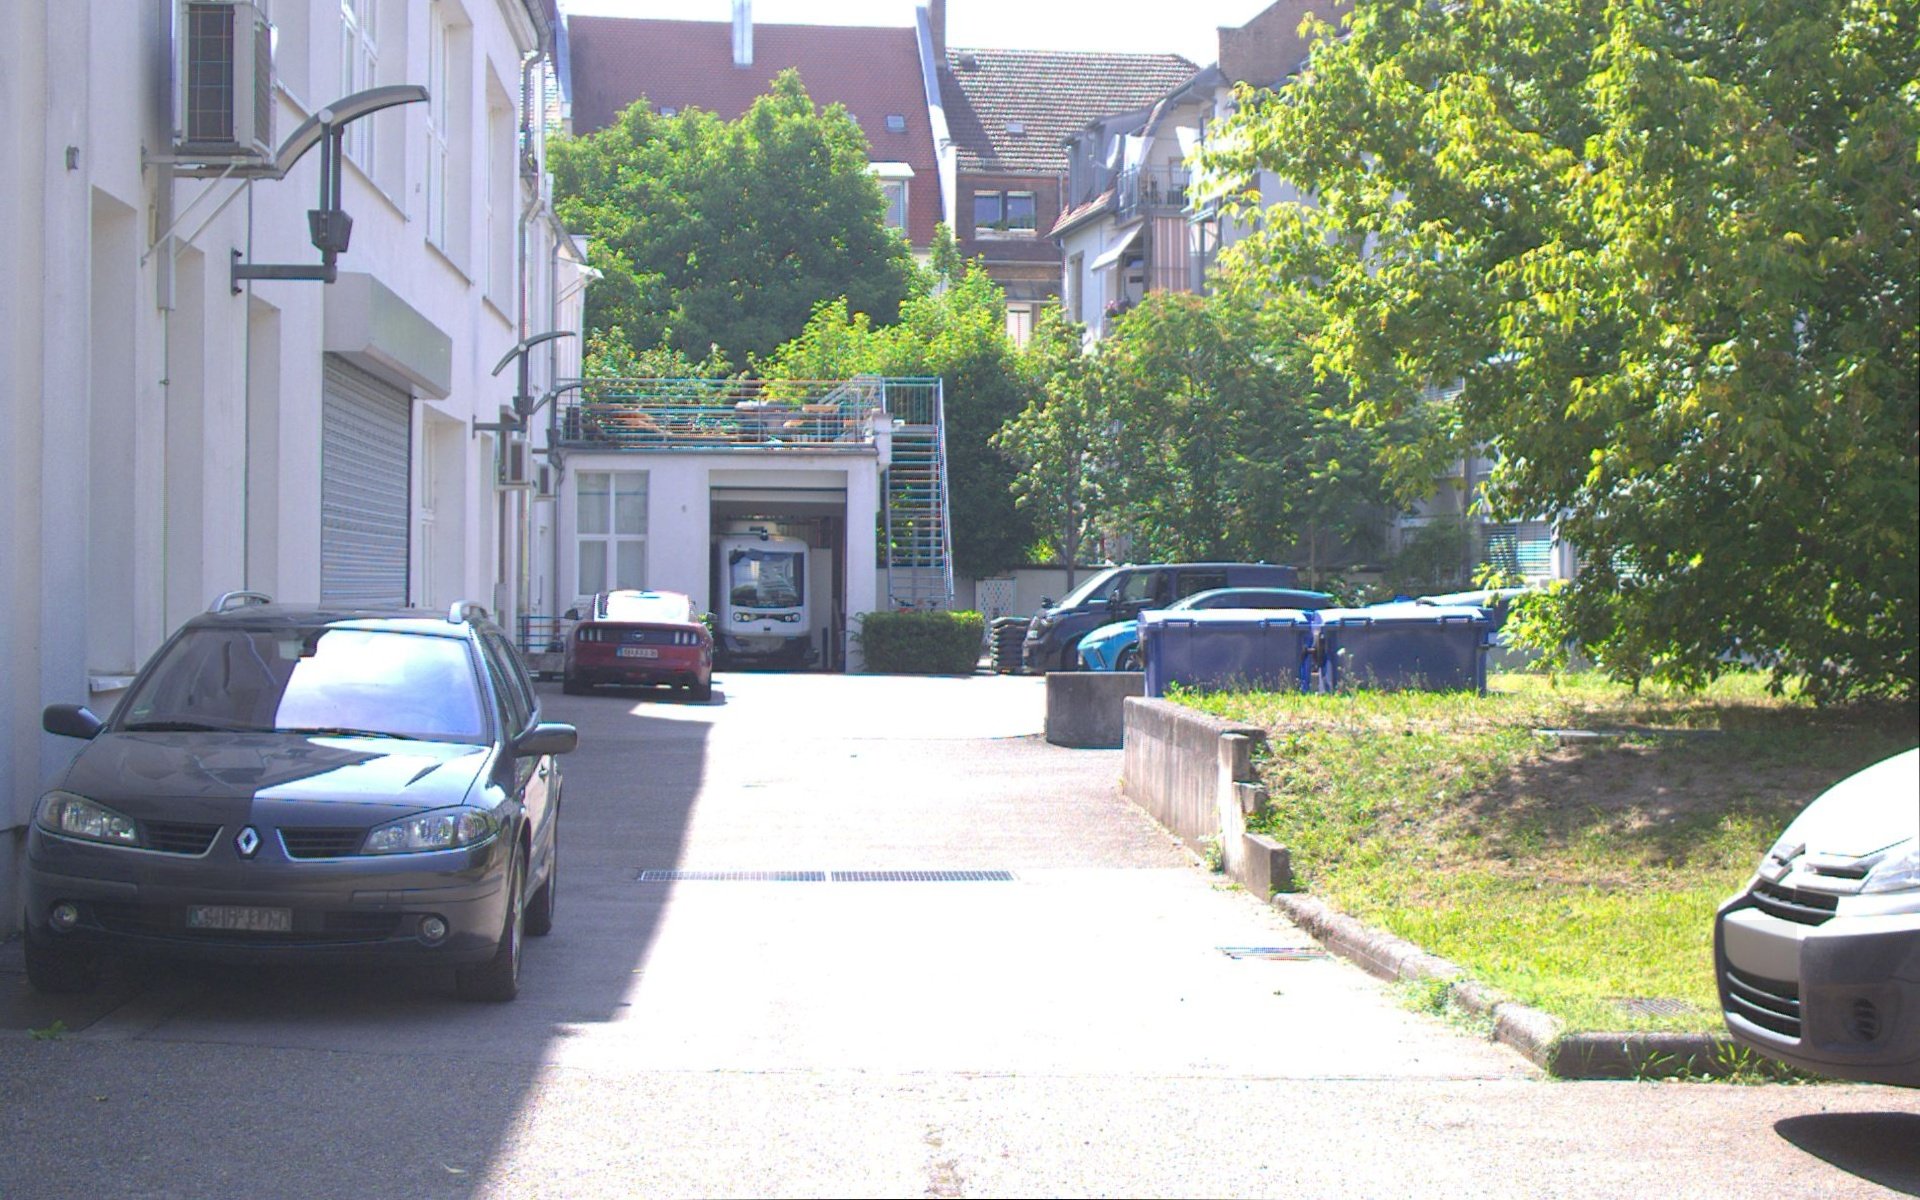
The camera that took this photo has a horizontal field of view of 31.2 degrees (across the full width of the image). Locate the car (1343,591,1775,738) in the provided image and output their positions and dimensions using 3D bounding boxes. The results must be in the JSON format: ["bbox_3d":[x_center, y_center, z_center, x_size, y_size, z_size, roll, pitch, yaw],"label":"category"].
[{"bbox_3d":[6.060,0.634,35.006,3.986,1.422,1.812,0,0,-6],"label":"car"}]

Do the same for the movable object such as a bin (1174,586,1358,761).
[{"bbox_3d":[2.400,0.563,27.119,1.247,1.350,1.129,0,0,-6],"label":"movable object such as a bin"}]

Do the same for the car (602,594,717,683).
[{"bbox_3d":[-4.560,0.566,52.534,1.614,1.291,3.759,0,0,-3],"label":"car"}]

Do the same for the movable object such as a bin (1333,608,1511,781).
[{"bbox_3d":[3.654,0.737,27.296,1.155,1.332,1.142,0,0,-6],"label":"movable object such as a bin"}]

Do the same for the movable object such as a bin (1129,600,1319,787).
[{"bbox_3d":[1.935,0.686,25.407,1.247,1.315,1.142,-2,-1,-1],"label":"movable object such as a bin"}]

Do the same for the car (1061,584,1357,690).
[{"bbox_3d":[3.799,0.556,52.896,4.228,1.527,2.000,-1,1,-6],"label":"car"}]

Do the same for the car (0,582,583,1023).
[{"bbox_3d":[-2.557,0.732,13.828,1.836,1.437,4.430,2,-1,-4],"label":"car"}]

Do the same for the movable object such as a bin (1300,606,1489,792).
[{"bbox_3d":[3.204,0.716,25.482,1.247,1.336,1.142,0,0,0],"label":"movable object such as a bin"}]

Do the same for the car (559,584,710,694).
[{"bbox_3d":[-4.259,0.485,45.477,1.851,1.315,4.001,2,0,-4],"label":"car"}]

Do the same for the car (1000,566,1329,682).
[{"bbox_3d":[3.323,0.361,56.128,4.950,1.761,2.097,-1,1,-15],"label":"car"}]

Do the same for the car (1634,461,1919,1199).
[{"bbox_3d":[4.677,0.623,9.899,5.023,1.926,2.000,1,1,-2],"label":"car"}]

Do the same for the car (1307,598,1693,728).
[{"bbox_3d":[5.988,0.689,38.403,3.986,1.389,1.689,0,0,-3],"label":"car"}]

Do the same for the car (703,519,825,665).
[{"bbox_3d":[-3.715,-0.135,65.355,2.174,2.598,6.735,0,0,-3],"label":"car"}]
